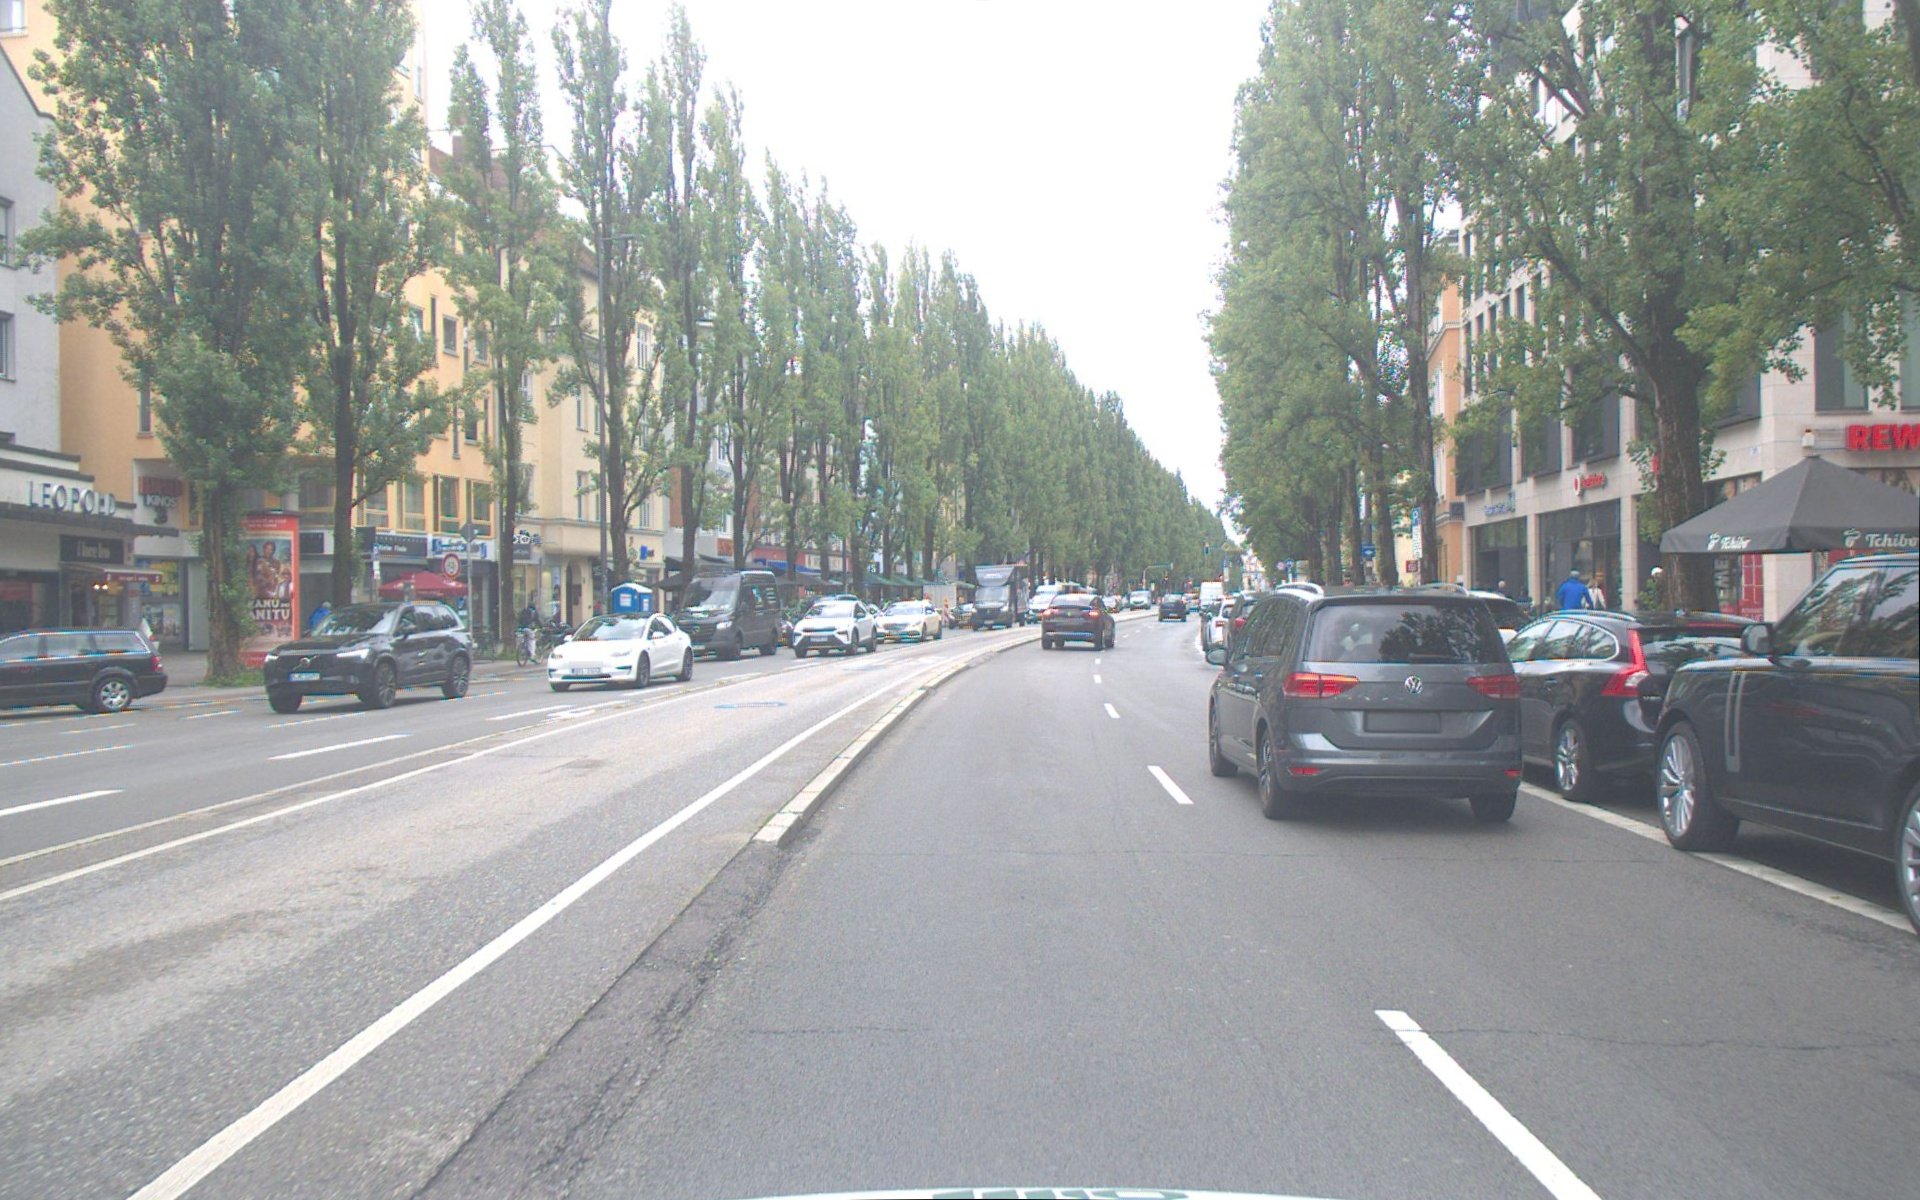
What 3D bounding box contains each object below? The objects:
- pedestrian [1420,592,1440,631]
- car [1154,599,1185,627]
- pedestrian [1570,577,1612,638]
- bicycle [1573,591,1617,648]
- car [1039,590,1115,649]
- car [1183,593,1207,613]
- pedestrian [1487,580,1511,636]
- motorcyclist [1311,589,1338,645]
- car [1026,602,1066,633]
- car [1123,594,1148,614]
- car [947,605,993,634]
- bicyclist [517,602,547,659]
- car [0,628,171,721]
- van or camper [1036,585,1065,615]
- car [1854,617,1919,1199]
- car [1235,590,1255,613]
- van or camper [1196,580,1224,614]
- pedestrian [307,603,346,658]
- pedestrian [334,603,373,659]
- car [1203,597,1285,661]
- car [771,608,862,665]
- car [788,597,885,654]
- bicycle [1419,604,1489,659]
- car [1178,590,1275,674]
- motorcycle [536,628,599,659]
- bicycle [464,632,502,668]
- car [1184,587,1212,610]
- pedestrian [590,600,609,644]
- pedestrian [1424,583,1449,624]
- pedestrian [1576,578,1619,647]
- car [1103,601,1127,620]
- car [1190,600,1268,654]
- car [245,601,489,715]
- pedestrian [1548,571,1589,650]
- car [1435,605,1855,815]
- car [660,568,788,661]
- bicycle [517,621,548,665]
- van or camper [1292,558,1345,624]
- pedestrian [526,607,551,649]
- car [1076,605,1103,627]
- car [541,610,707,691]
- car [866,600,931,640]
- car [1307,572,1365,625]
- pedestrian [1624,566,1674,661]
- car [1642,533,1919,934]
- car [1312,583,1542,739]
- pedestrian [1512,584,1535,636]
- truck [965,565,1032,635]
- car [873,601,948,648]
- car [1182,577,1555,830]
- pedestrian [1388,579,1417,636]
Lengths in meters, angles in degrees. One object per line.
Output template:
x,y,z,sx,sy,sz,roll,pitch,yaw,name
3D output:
20.241,0.496,71.184,0.715,1.654,0.805,-2,0,20,pedestrian
12.969,0.815,102.300,1.721,1.648,3.750,0,-1,10,car
17.307,0.199,45.346,0.780,1.649,0.715,-1,0,-14,pedestrian
13.548,0.406,35.318,0.440,1.192,1.769,-1,0,7,bicycle
3.584,0.546,50.089,1.840,1.670,4.587,-1,0,10,car
21.759,0.264,153.041,1.951,1.747,4.003,-2,0,12,car
16.011,0.230,49.138,0.540,1.666,0.557,-1,0,34,pedestrian
9.416,0.439,42.743,0.552,1.431,0.766,-2,0,7,motorcyclist
5.232,1.055,100.437,1.820,1.741,4.540,-2,0,10,car
18.111,0.417,170.751,1.953,2.049,3.998,1,-1,-2,car
0.568,1.033,90.545,1.898,1.459,4.542,-2,0,8,car
-12.245,0.861,47.307,0.491,1.620,0.835,-1,0,10,bicyclist
-16.292,1.291,28.605,4.465,1.464,1.900,-2,0,-40,car
7.876,-0.028,142.967,1.951,2.501,4.255,-1,0,10,van or camper
2.794,0.761,1.804,1.631,1.471,3.594,1,-1,-2,car
26.175,0.149,152.017,1.766,2.027,4.003,0,-1,10,car
19.545,-0.242,129.106,1.991,2.519,4.003,-1,-1,10,van or camper
-19.211,0.930,50.168,0.822,1.654,0.764,0,-1,9,pedestrian
-18.333,0.936,49.996,0.822,1.654,0.764,0,-1,9,pedestrian
7.318,0.713,42.948,1.772,1.526,4.809,-2,0,6,car
-5.291,1.328,61.905,1.951,1.896,5.716,-3,0,10,car
-3.700,0.746,50.408,1.869,1.631,4.359,-1,0,10,car
11.440,0.720,38.321,1.447,1.229,0.536,-1,0,2,bicycle
5.865,0.684,36.818,1.884,1.730,4.653,0,-1,6,car
-13.320,1.471,56.174,2.018,1.054,0.485,1,-1,-10,motorcycle
-13.970,1.450,48.472,0.449,0.980,1.881,-1,0,3,bicycle
19.418,-0.118,134.674,1.951,1.747,4.004,-2,0,12,car
-14.809,0.905,67.918,0.527,1.777,0.756,0,0,10,pedestrian
18.705,0.132,64.920,0.595,1.578,0.711,-2,0,-17,pedestrian
16.825,0.325,43.669,0.780,1.803,0.679,-1,0,-14,pedestrian
12.941,0.872,138.136,1.675,1.438,3.726,-1,0,10,car
7.902,0.757,48.995,1.890,1.475,4.807,-1,0,5,car
-10.059,0.914,28.549,1.975,1.746,4.986,-1,0,6,car
13.007,0.220,35.374,0.597,1.647,0.795,-2,0,7,pedestrian
5.589,0.798,14.203,1.735,1.458,4.571,1,0,0,car
-7.136,0.419,50.714,2.123,2.651,6.069,-1,0,9,car
-12.228,1.234,47.330,0.360,1.222,1.155,-1,0,11,bicycle
18.058,-0.457,83.477,2.407,3.166,4.719,-2,0,11,van or camper
-16.090,1.058,63.157,0.620,1.589,0.816,-1,0,12,pedestrian
9.916,1.240,126.362,1.631,1.624,4.003,0,-1,10,car
-6.629,0.964,33.163,1.761,1.419,4.694,-1,0,8,car
-2.747,0.874,75.096,1.951,1.680,4.640,-2,0,10,car
17.786,-0.079,78.021,1.862,2.368,4.824,-2,0,22,car
14.522,0.276,34.867,0.633,1.958,0.926,-2,0,2,pedestrian
5.385,0.618,8.567,1.889,1.836,4.781,0,0,2,car
5.615,0.675,20.416,1.691,1.716,4.409,0,0,1,car
16.690,0.301,49.000,0.494,1.517,0.545,-1,0,35,pedestrian
2.013,-0.009,84.256,2.242,3.381,7.163,-2,0,10,truck
-1.837,0.891,63.383,1.951,1.616,5.199,-3,0,8,car
2.947,0.672,12.871,1.726,1.642,4.181,0,0,-2,car
15.194,0.255,56.807,0.800,1.902,0.939,-2,0,7,pedestrian
